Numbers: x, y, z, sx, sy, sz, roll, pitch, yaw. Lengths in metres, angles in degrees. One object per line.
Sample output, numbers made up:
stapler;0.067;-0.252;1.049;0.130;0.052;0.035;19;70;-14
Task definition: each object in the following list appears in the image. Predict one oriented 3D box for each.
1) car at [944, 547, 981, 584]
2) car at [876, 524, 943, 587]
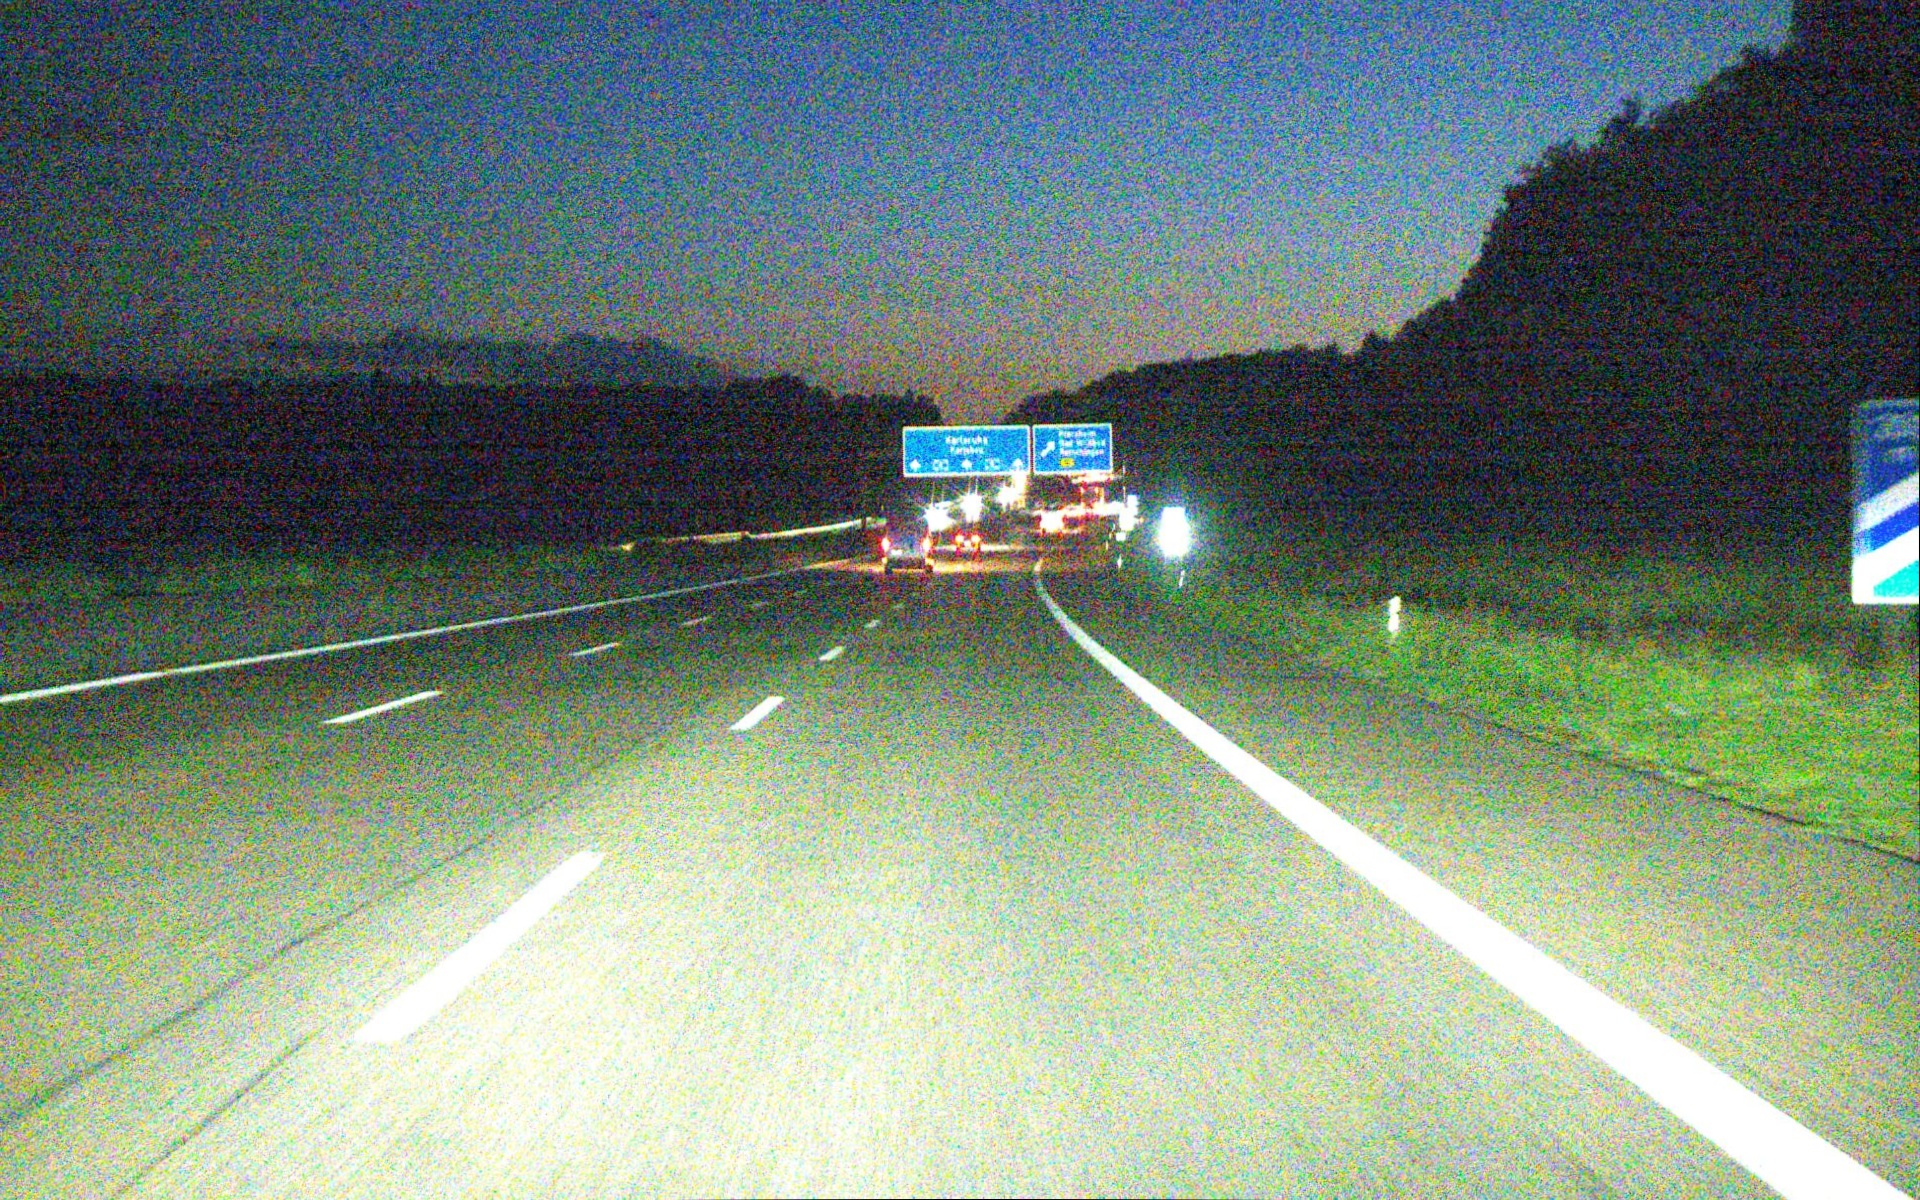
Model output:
car;0.206;-2.610;261.922;2.786;2.724;6.299;0;0;0
car;-2.201;-1.953;152.536;2.786;2.724;6.299;0;0;1
